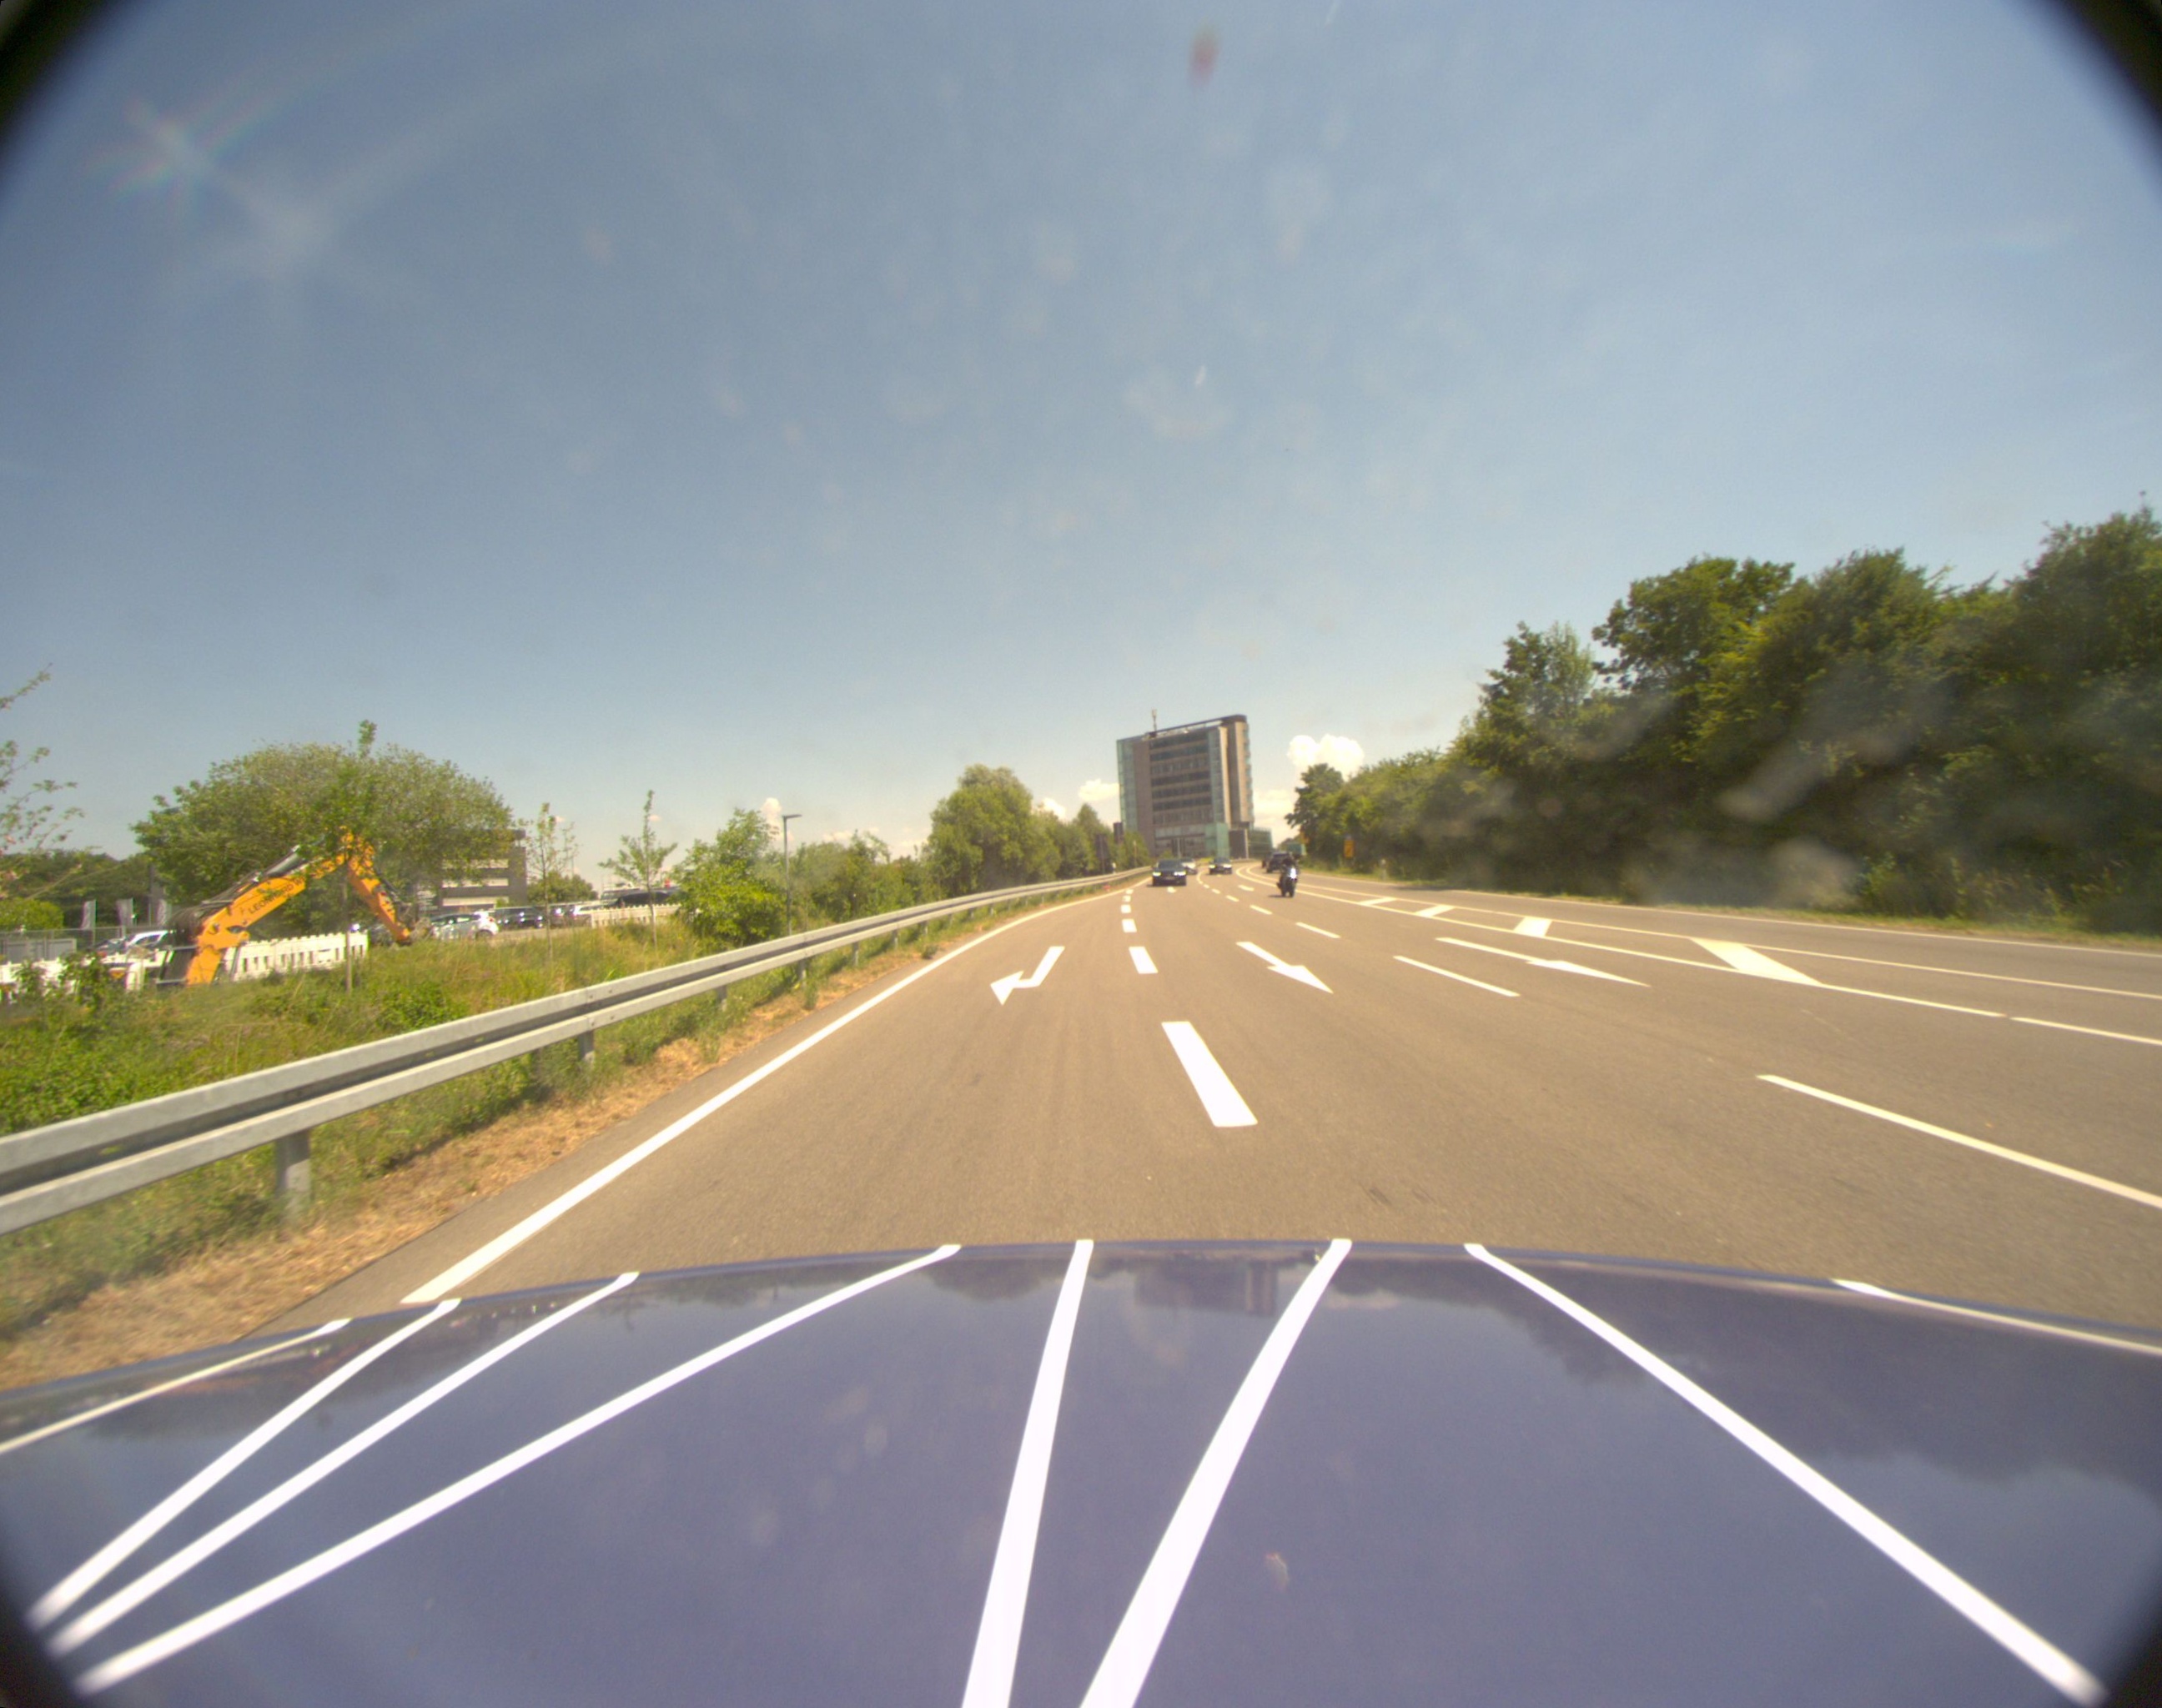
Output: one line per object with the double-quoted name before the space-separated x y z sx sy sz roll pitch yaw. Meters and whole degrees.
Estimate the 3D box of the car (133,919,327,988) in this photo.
"car" -27.721 3.145 24.877 1.994 1.663 4.008 -2 0 36

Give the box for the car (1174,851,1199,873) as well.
"car" 9.007 0.734 64.717 1.932 1.576 4.184 -4 -3 9

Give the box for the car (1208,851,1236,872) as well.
"car" 11.588 0.589 62.370 2.116 1.581 4.454 -3 0 11

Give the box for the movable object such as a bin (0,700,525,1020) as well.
"movable object such as a bin" -17.992 0.349 17.273 3.432 5.228 9.234 -4 -3 3

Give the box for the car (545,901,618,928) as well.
"car" -36.675 4.415 55.851 1.942 1.559 4.008 -2 0 38

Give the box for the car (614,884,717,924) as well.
"car" -25.728 3.052 47.196 1.995 2.157 5.164 -5 -3 36

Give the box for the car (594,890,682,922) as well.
"car" -28.043 3.275 48.228 1.943 1.720 4.328 -5 -3 36

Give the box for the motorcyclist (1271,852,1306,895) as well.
"motorcyclist" 7.481 0.686 27.378 0.861 1.479 1.161 -1 0 -4

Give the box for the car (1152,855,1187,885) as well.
"car" 4.902 0.858 41.711 1.779 1.497 4.564 -2 -1 8

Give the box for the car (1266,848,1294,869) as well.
"car" 16.020 0.365 61.270 1.996 1.583 4.686 -2 0 13

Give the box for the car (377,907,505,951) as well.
"car" -28.942 3.332 34.470 1.942 1.559 4.096 -3 0 39

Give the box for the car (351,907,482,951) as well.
"car" -31.196 3.475 35.766 1.942 1.547 4.351 -3 0 41

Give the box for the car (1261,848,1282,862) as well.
"car" 20.624 0.089 82.538 1.820 1.433 4.647 -1 0 9

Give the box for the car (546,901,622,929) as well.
"car" -34.892 4.271 53.418 1.942 1.559 4.008 -3 0 38

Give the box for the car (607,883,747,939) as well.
"car" -16.041 2.234 30.299 4.442 1.901 2.066 -4 -2 6

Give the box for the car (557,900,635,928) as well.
"car" -33.073 4.043 51.877 1.942 1.559 4.008 -3 0 38

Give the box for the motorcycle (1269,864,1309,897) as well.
"motorcycle" 7.480 0.938 27.447 0.734 1.131 2.072 -1 0 -3

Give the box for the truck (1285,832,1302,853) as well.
"truck" 39.179 -2.072 140.345 2.873 3.553 9.441 -2 0 15

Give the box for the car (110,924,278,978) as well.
"car" -34.780 3.731 29.880 1.994 1.535 4.164 -2 0 38

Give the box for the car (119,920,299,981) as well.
"car" -31.935 3.455 27.938 1.994 1.624 4.164 -2 0 37
